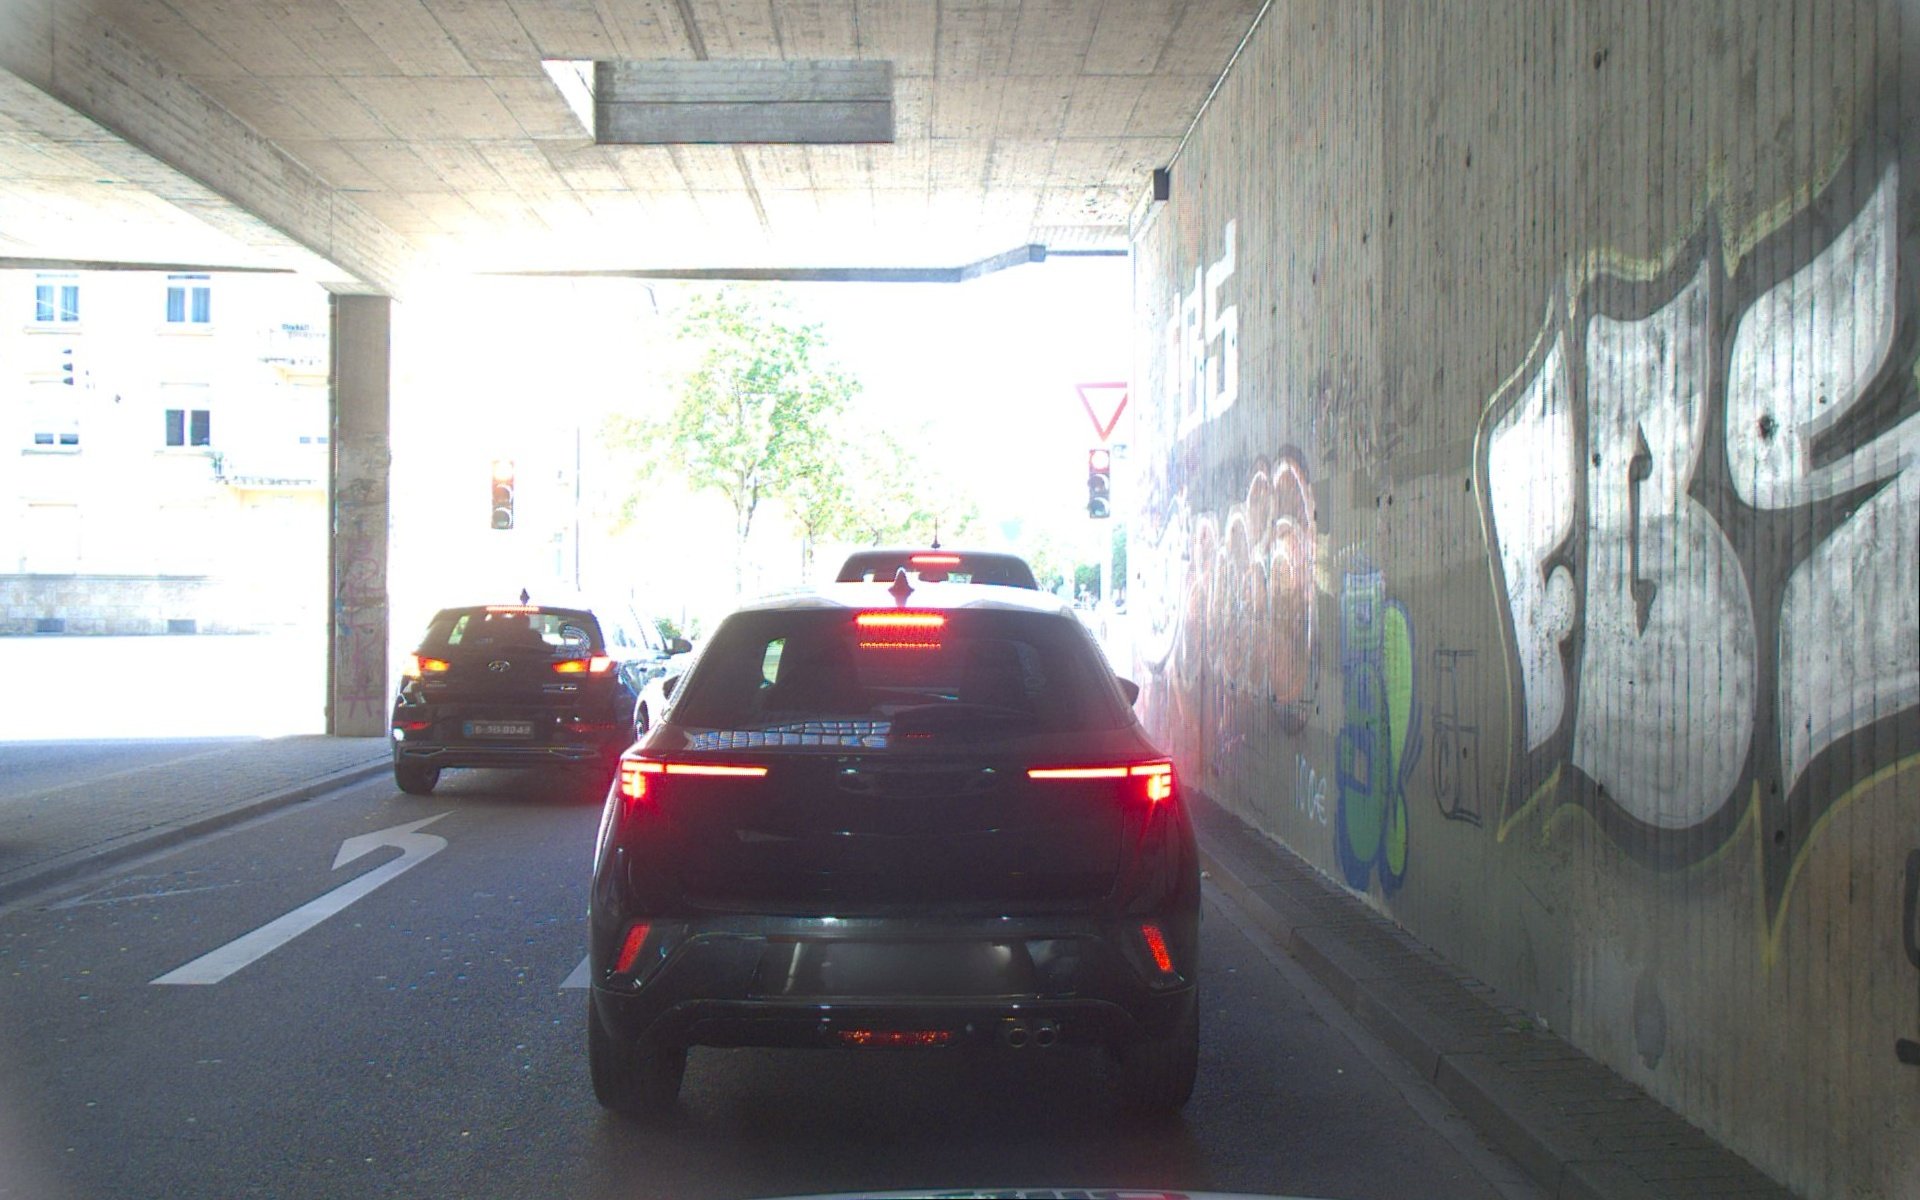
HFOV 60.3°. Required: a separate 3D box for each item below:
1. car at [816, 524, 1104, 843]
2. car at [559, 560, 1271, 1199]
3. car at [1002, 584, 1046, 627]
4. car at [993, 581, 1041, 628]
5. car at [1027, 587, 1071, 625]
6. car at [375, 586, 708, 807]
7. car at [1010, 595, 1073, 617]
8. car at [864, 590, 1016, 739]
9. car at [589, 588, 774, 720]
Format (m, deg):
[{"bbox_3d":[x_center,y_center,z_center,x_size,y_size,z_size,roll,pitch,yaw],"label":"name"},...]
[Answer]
[{"bbox_3d":[-0.029,0.499,12.019,1.726,1.915,4.145,0,0,-1],"label":"car"},{"bbox_3d":[-0.135,0.681,6.074,1.726,1.558,4.088,0,0,-1],"label":"car"},{"bbox_3d":[2.671,0.213,68.339,1.717,1.696,3.946,1,0,3],"label":"car"},{"bbox_3d":[2.181,0.179,62.213,1.717,1.696,3.946,1,0,3],"label":"car"},{"bbox_3d":[4.198,0.279,77.646,1.716,1.696,3.947,1,0,8],"label":"car"},{"bbox_3d":[-3.145,0.655,13.217,1.726,1.506,3.843,0,0,-1],"label":"car"},{"bbox_3d":[6.593,0.511,133.855,4.732,1.696,1.812,1,0,-22],"label":"car"},{"bbox_3d":[-0.234,0.666,19.233,1.576,1.539,4.053,0,0,-1],"label":"car"},{"bbox_3d":[-3.416,0.617,20.937,1.726,1.506,3.843,0,0,-1],"label":"car"}]
